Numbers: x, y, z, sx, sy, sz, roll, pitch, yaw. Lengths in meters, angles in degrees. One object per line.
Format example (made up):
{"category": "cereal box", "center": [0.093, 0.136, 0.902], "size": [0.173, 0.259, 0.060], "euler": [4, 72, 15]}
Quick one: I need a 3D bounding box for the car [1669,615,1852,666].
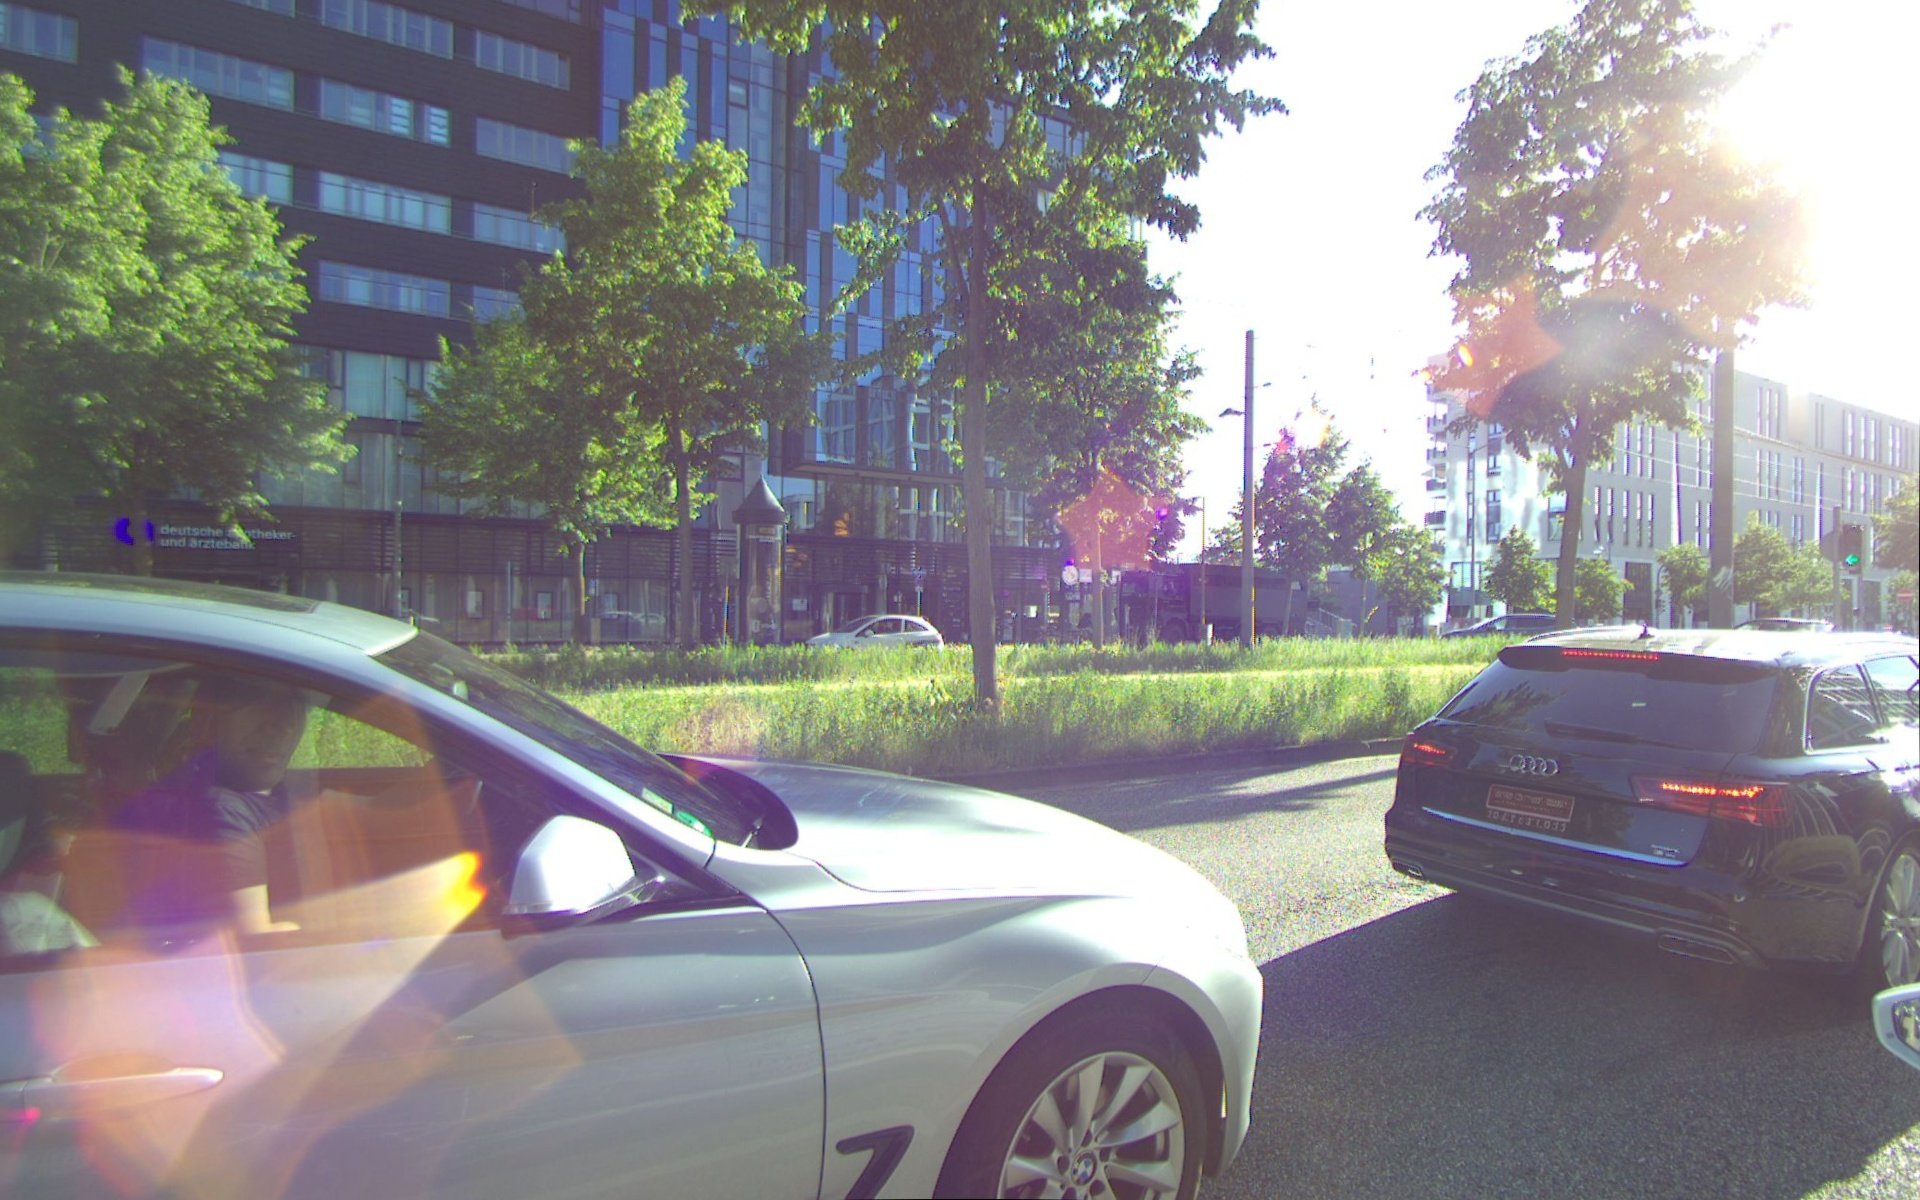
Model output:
{"category": "car", "center": [25.436, 1.240, 32.144], "size": [1.772, 1.467, 4.560], "euler": [1, -1, -10]}

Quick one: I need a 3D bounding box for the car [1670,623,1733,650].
{"category": "car", "center": [51.470, 2.512, 69.682], "size": [4.319, 1.838, 1.984], "euler": [1, -1, -30]}

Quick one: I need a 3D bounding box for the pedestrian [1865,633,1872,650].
{"category": "pedestrian", "center": [96.783, 4.391, 106.996], "size": [0.474, 1.767, 0.466], "euler": [1, 0, -30]}

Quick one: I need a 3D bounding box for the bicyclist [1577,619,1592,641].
{"category": "bicyclist", "center": [45.393, 2.175, 73.055], "size": [0.706, 1.549, 0.674], "euler": [1, 0, -30]}

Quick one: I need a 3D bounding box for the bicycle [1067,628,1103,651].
{"category": "bicycle", "center": [5.833, 1.820, 46.724], "size": [1.735, 1.049, 0.475], "euler": [1, -1, -31]}

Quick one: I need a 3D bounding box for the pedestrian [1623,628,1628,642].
{"category": "pedestrian", "center": [53.879, 2.849, 81.334], "size": [0.257, 1.100, 0.252], "euler": [1, 0, -30]}

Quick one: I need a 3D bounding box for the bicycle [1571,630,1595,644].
{"category": "bicycle", "center": [45.298, 2.705, 73.003], "size": [1.933, 1.001, 0.673], "euler": [1, -1, -31]}

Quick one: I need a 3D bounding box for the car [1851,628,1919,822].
{"category": "car", "center": [9.303, 0.986, 8.182], "size": [4.288, 1.445, 1.833], "euler": [1, -1, -30]}

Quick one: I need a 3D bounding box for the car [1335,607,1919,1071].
{"category": "car", "center": [4.390, 0.832, 5.361], "size": [4.911, 1.504, 1.864], "euler": [1, -1, -32]}

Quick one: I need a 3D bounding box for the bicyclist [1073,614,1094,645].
{"category": "bicyclist", "center": [5.740, 1.358, 46.674], "size": [0.811, 1.443, 0.475], "euler": [1, -1, -30]}

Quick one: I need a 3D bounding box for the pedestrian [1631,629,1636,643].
{"category": "pedestrian", "center": [54.227, 2.872, 80.836], "size": [0.286, 1.100, 0.252], "euler": [1, 0, -30]}

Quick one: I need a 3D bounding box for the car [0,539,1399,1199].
{"category": "car", "center": [-1.330, 0.693, 2.022], "size": [4.509, 1.504, 1.810], "euler": [1, -1, -31]}

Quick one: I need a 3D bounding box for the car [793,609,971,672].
{"category": "car", "center": [-2.093, 1.079, 27.426], "size": [4.517, 1.503, 1.789], "euler": [1, 3, -31]}

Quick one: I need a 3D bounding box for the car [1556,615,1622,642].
{"category": "car", "center": [37.532, 1.685, 59.907], "size": [3.953, 1.540, 1.756], "euler": [1, -1, -30]}

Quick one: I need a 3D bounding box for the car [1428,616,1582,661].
{"category": "car", "center": [19.244, 1.347, 35.672], "size": [4.476, 1.467, 1.806], "euler": [1, -1, 13]}

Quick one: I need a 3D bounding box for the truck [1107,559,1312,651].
{"category": "truck", "center": [11.696, 0.300, 46.501], "size": [10.094, 3.904, 2.877], "euler": [1, -1, -31]}

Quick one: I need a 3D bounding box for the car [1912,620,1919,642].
{"category": "car", "center": [90.297, 2.879, 93.143], "size": [3.953, 2.040, 1.984], "euler": [1, -1, -30]}

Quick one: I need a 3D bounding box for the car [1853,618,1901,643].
{"category": "car", "center": [78.098, 2.593, 85.528], "size": [3.953, 2.040, 1.984], "euler": [1, -1, -30]}
